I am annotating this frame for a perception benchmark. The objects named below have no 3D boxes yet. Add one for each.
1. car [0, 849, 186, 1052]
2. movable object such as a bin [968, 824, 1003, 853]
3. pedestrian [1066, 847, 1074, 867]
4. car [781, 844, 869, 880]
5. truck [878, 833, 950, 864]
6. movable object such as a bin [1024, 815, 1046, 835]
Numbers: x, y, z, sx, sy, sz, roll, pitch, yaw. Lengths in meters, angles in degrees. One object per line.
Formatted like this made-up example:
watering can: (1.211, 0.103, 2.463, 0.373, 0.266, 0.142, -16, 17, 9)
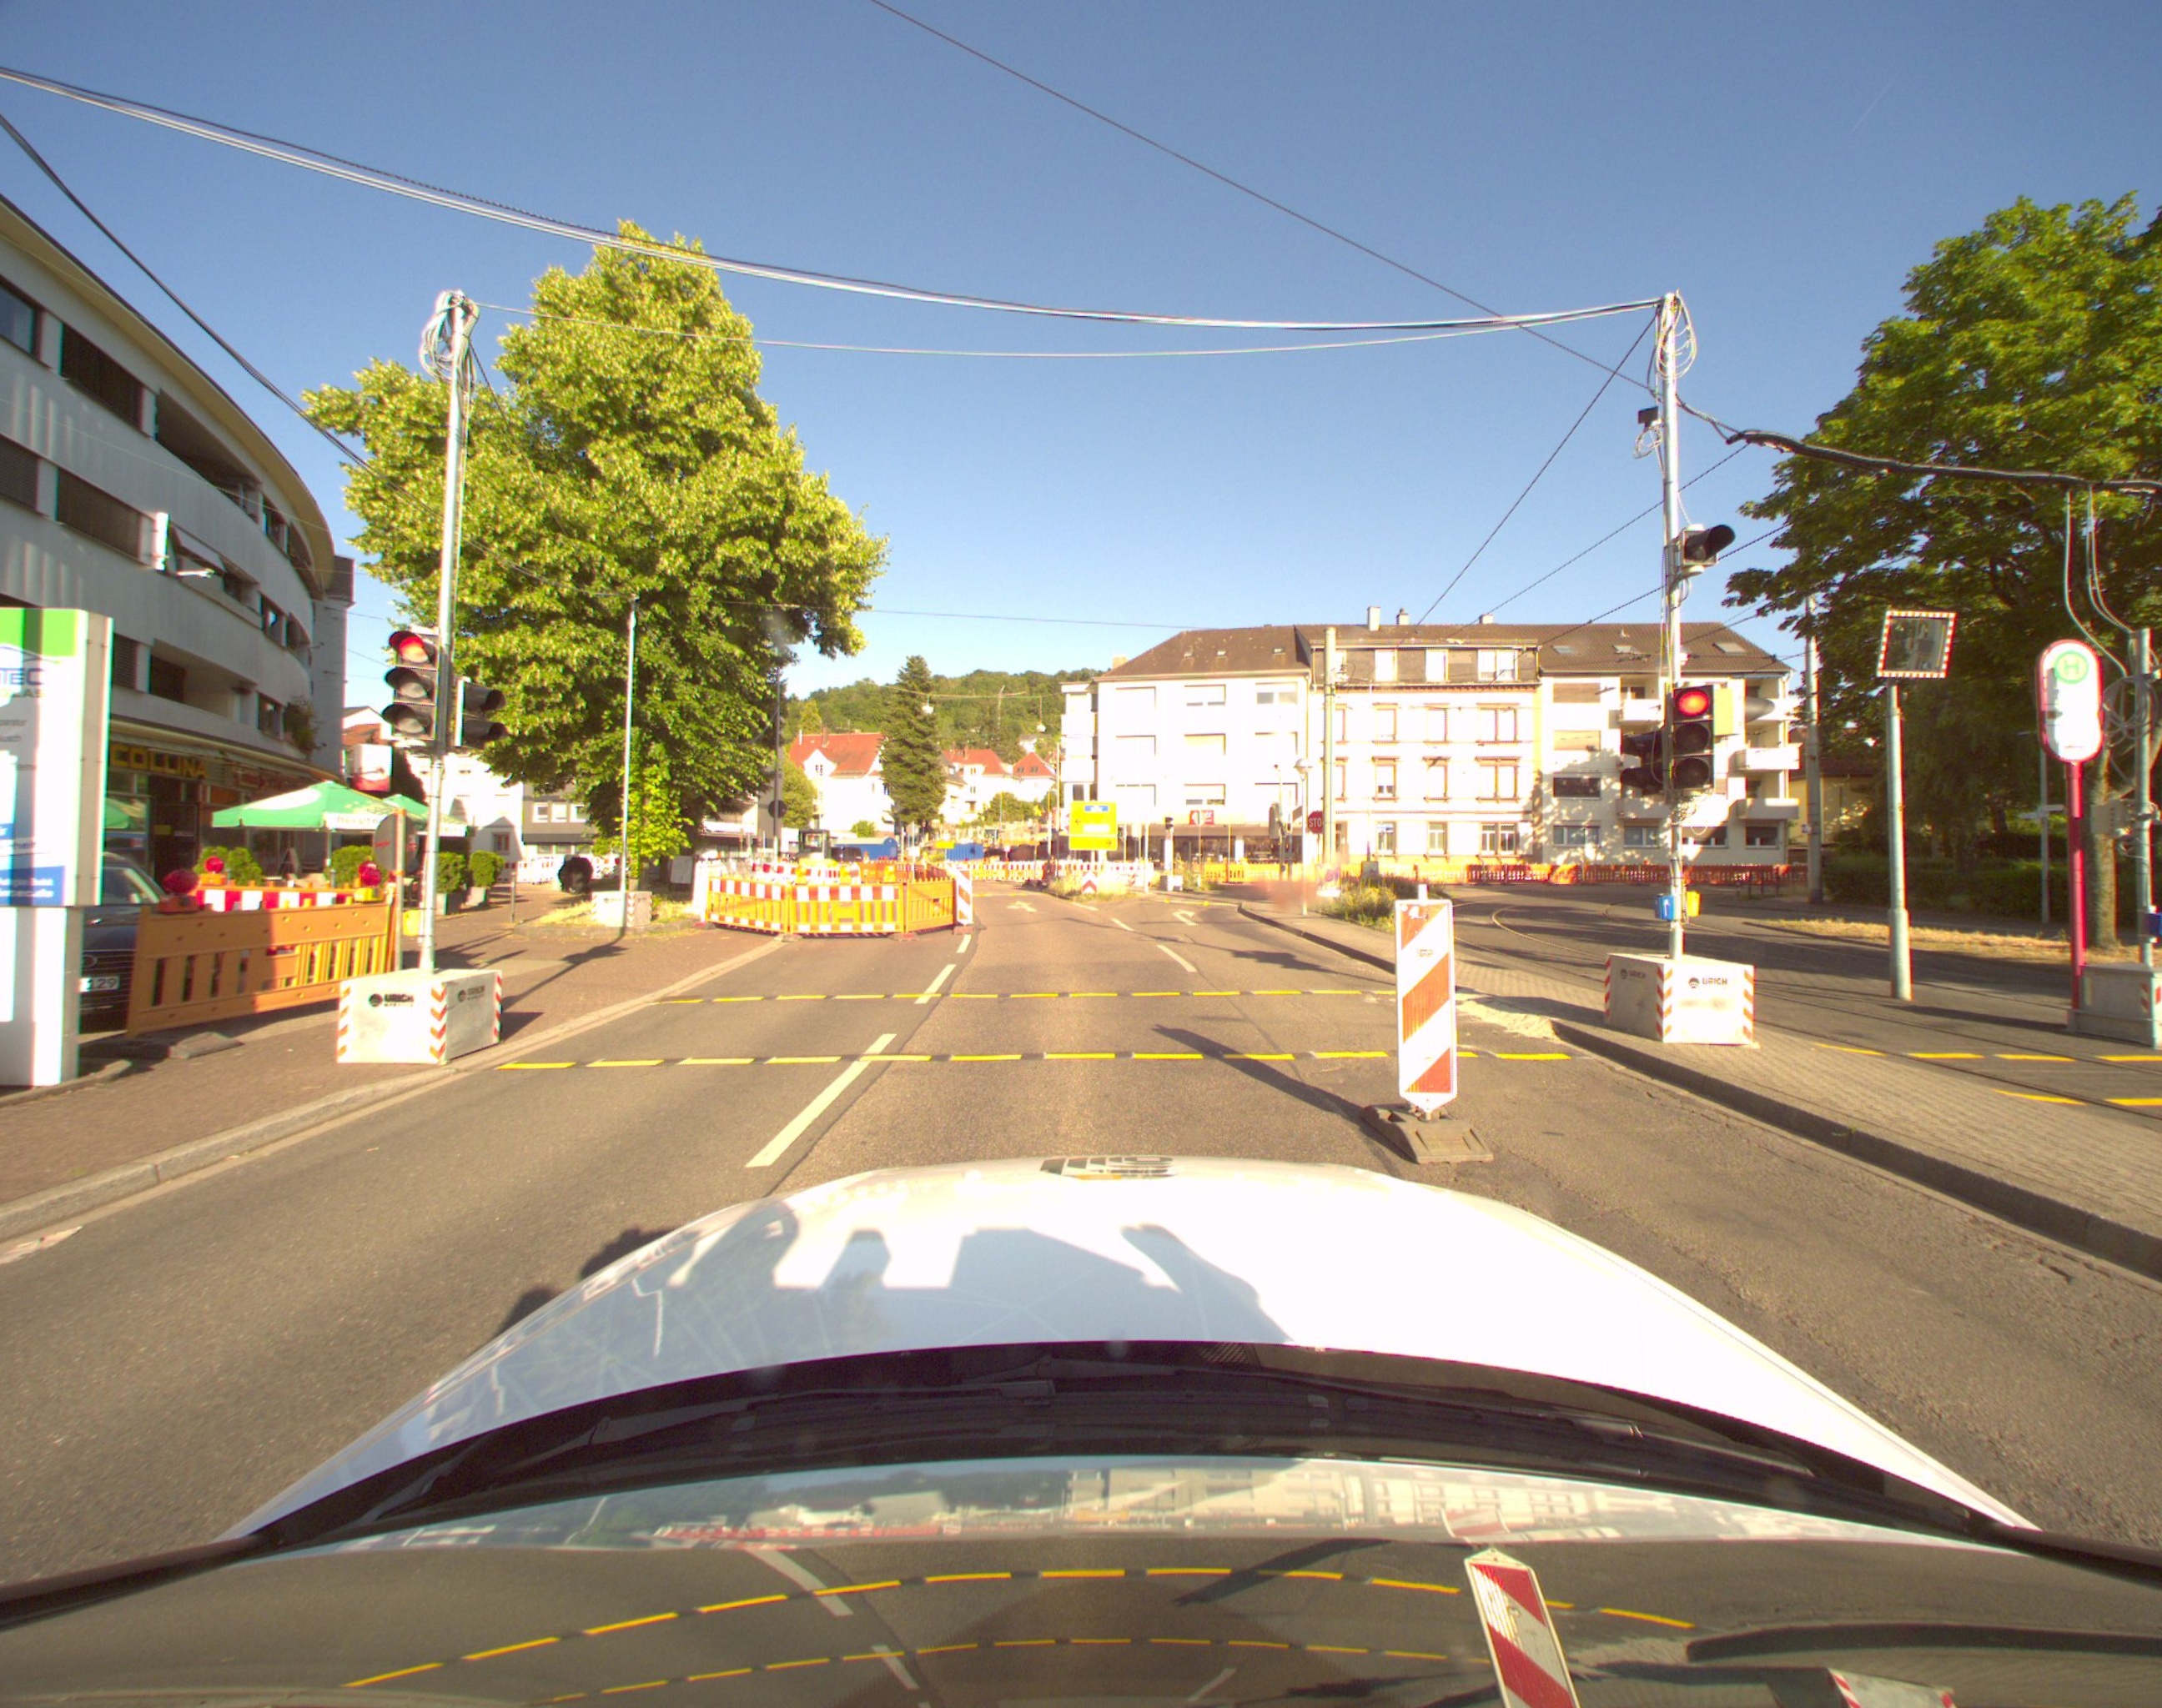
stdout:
car: (-9.604, 0.720, 7.538, 4.246, 1.454, 1.660, 1, 0, 43)
movable object such as a bin: (-9.353, -1.472, 79.819, 2.176, 2.690, 4.013, 0, 0, 12)
pedestrian: (-0.941, 0.252, 69.505, 0.638, 1.760, 0.718, 0, 0, 2)
car: (-15.121, 0.436, 48.076, 4.937, 2.014, 2.081, 0, 0, 28)
truck: (-13.987, -0.429, 69.180, 2.340, 2.416, 9.184, 0, 0, 13)
movable object such as a bin: (-6.427, -4.029, 114.198, 2.176, 2.690, 4.013, 0, 0, 12)
